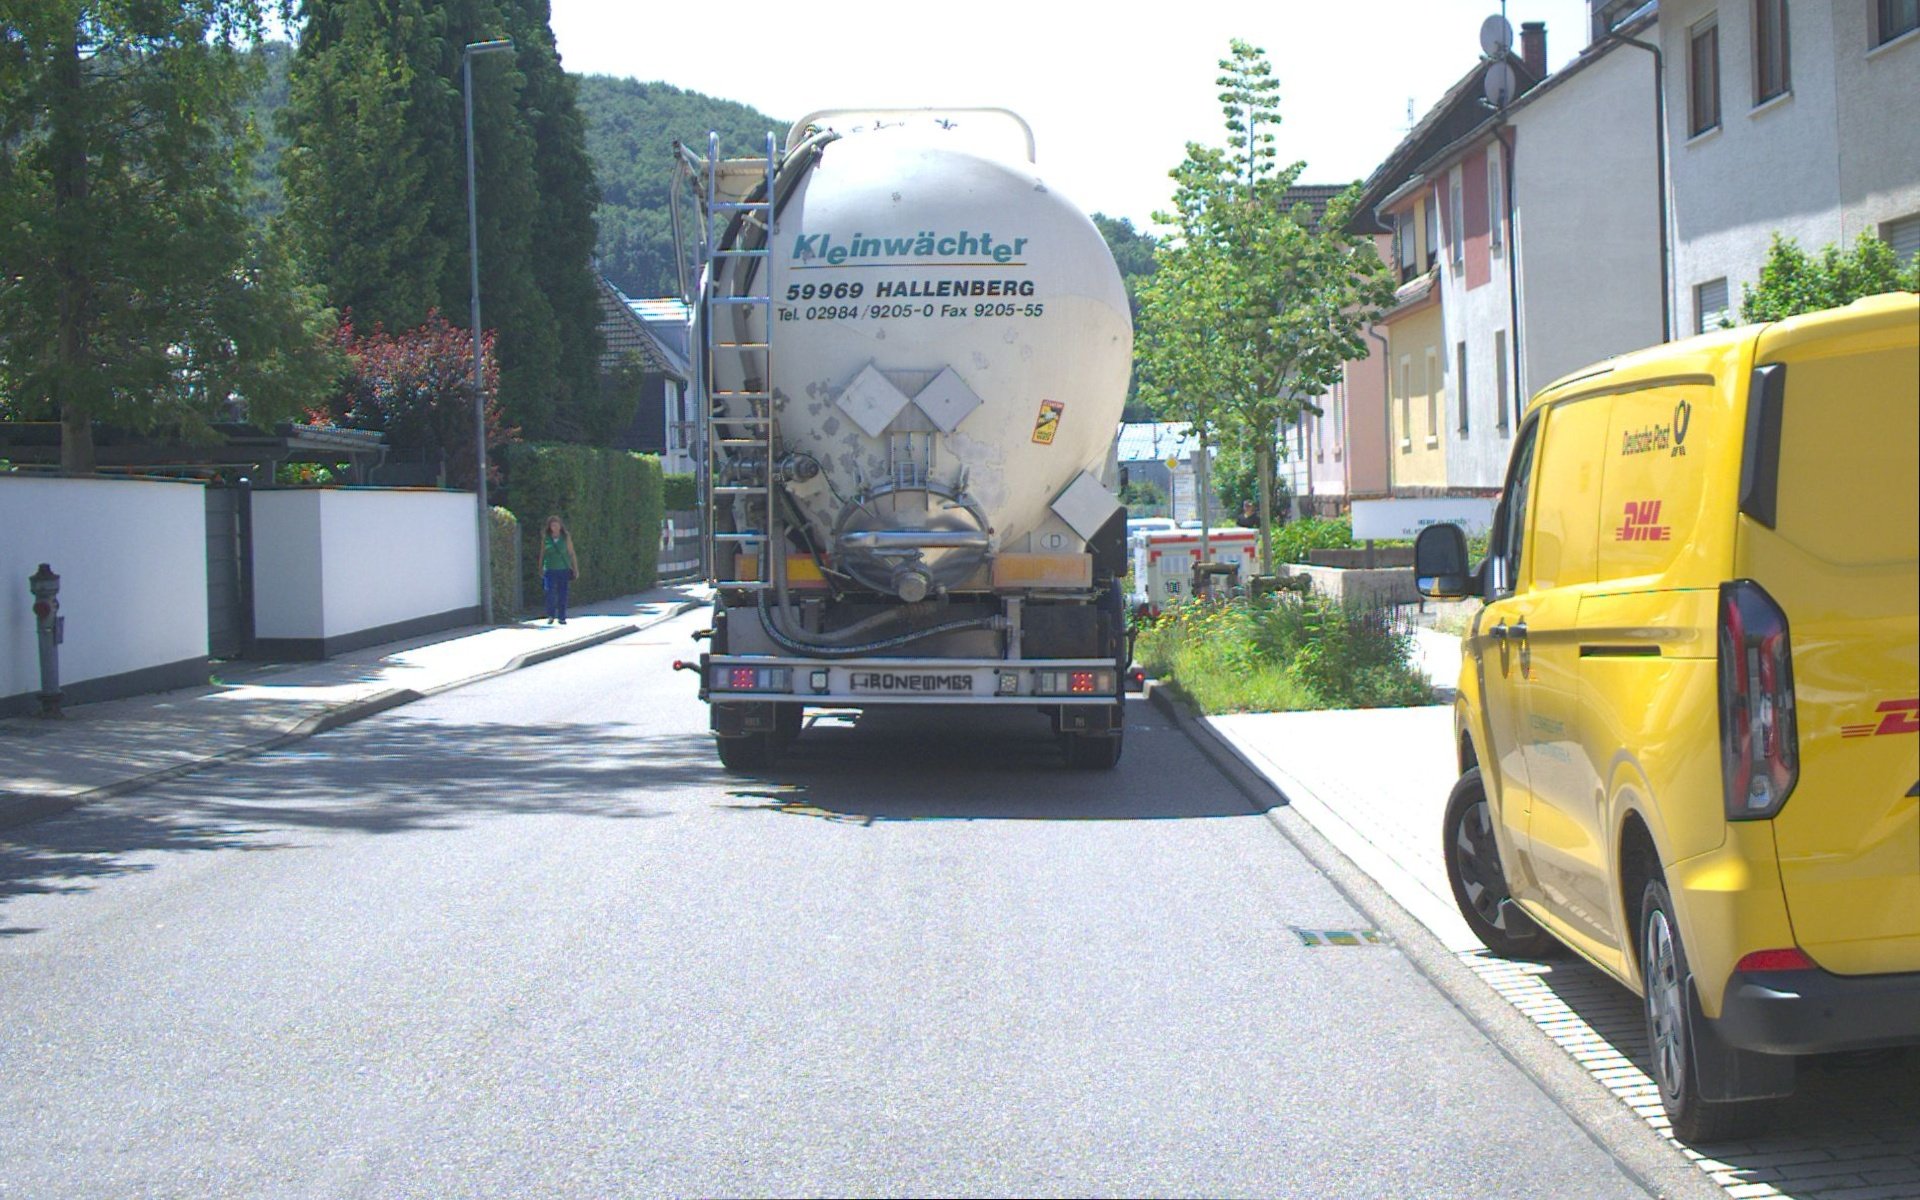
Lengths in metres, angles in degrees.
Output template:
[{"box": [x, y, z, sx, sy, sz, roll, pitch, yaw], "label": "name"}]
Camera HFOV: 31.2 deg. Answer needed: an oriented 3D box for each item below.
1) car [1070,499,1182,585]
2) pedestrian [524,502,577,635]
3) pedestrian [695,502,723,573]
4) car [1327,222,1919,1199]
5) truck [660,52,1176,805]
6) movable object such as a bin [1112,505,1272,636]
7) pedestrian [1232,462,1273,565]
[{"box": [3.013, -1.036, 63.059, 1.756, 1.413, 4.633, -3, 0, 0], "label": "car"}, {"box": [-6.201, -0.478, 52.086, 0.720, 2.007, 0.804, 0, 0, -1], "label": "pedestrian"}, {"box": [-6.458, -1.596, 88.443, 0.712, 1.817, 0.898, 0, 0, -3], "label": "pedestrian"}, {"box": [2.600, 0.132, 9.993, 2.189, 2.007, 5.623, -5, 1, -1], "label": "car"}, {"box": [-0.262, -1.065, 24.021, 2.750, 4.043, 10.890, 0, 1, 0], "label": "truck"}, {"box": [2.647, -0.341, 39.705, 1.571, 1.412, 3.042, -2, 0, 0], "label": "movable object such as a bin"}, {"box": [5.789, -1.706, 68.137, 0.746, 2.007, 1.033, 0, 0, 1], "label": "pedestrian"}]
